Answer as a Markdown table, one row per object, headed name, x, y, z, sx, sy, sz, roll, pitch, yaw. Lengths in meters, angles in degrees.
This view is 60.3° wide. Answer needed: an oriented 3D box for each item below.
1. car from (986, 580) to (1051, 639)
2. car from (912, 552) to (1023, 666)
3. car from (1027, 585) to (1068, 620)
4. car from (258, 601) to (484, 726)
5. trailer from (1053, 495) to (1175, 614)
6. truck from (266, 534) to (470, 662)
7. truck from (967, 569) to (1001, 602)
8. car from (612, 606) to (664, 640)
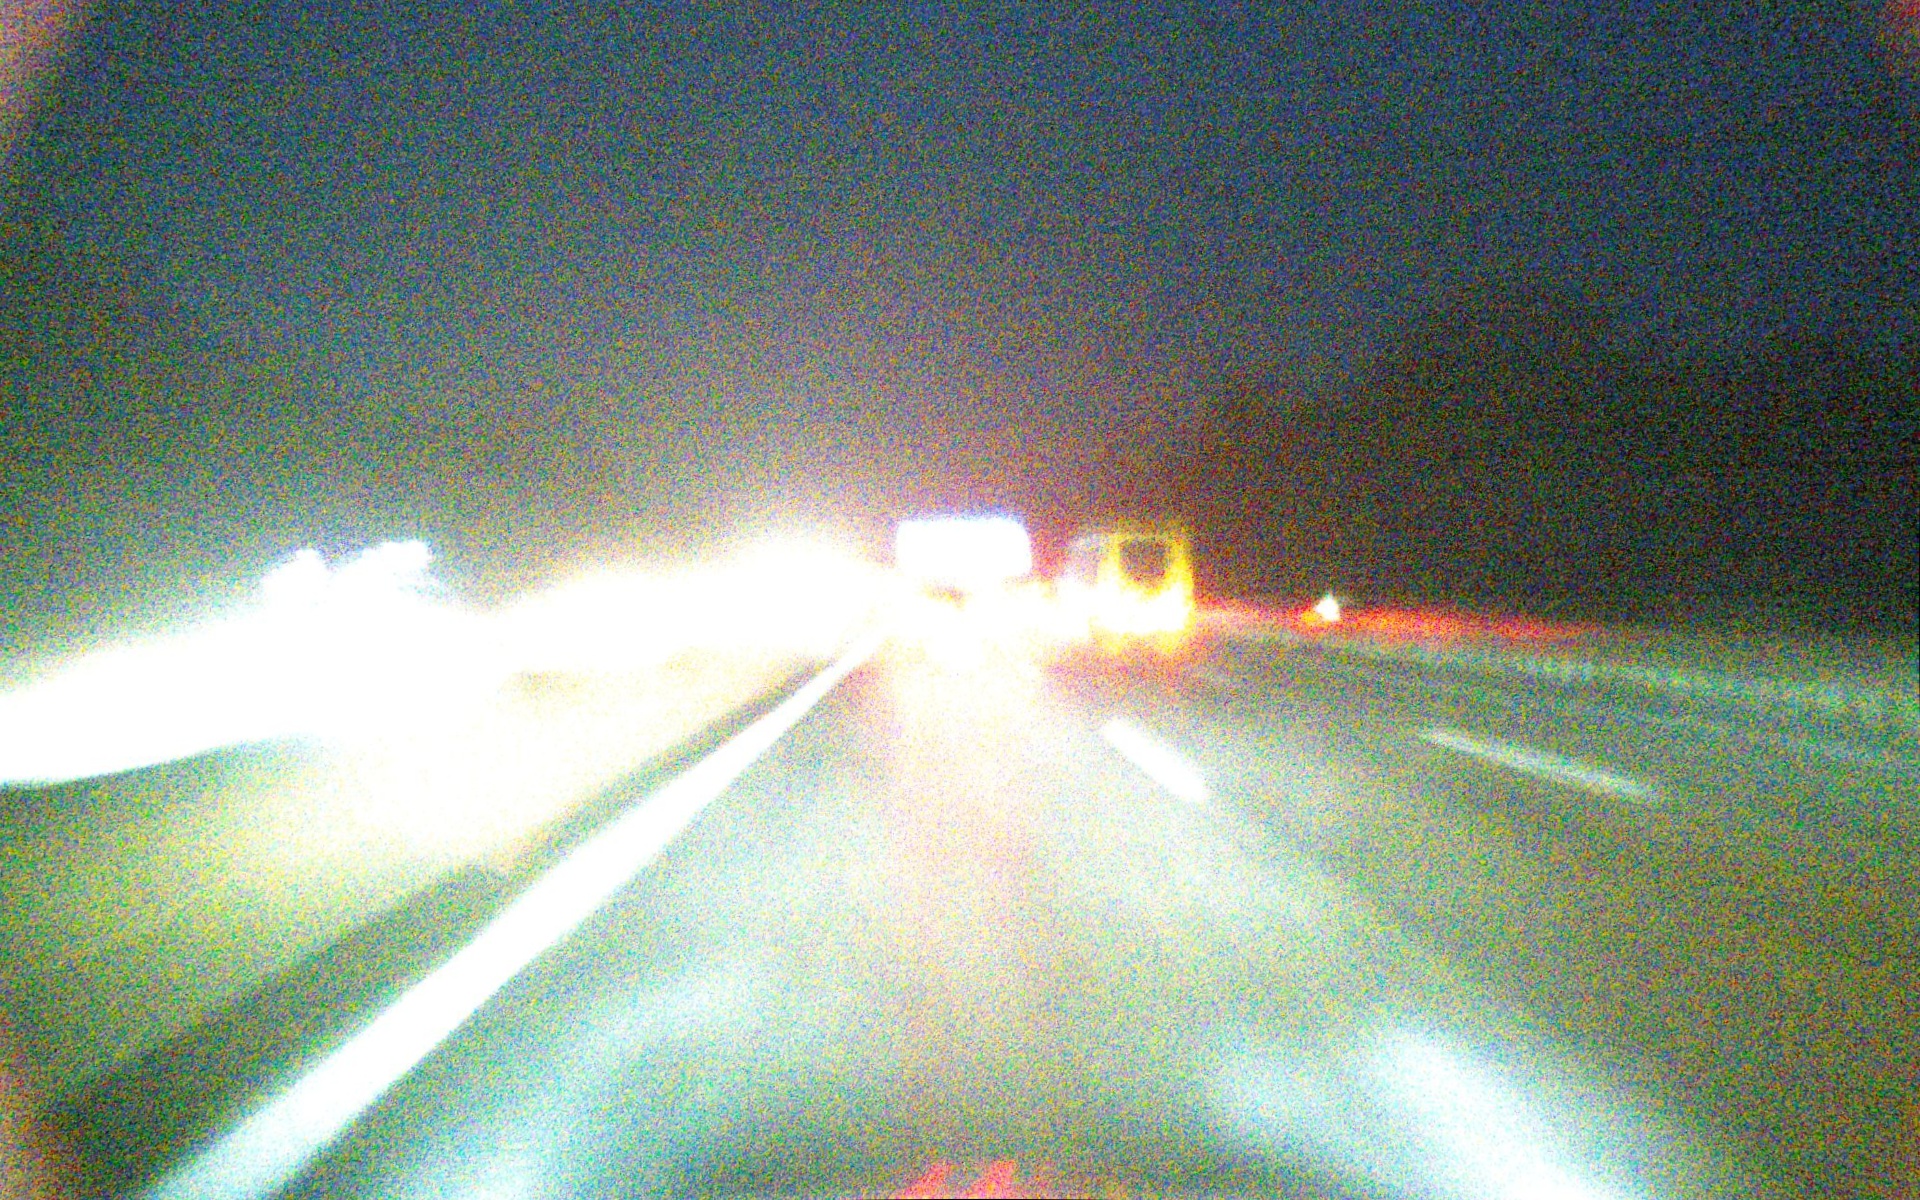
| name | x | y | z | sx | sy | sz | roll | pitch | yaw |
| --- | --- | --- | --- | --- | --- | --- | --- | --- | --- |
| car | 2.146 | 0.350 | 61.649 | 1.954 | 2.049 | 3.997 | -2 | 0 | -4 |
| car | 0.082 | 0.177 | 32.021 | 1.953 | 2.049 | 3.998 | 1 | 0 | -2 |
| car | 5.401 | 0.170 | 102.510 | 1.954 | 2.049 | 3.997 | -2 | 0 | -4 |
| car | -9.012 | 0.923 | 25.739 | 1.877 | 1.713 | 4.505 | -2 | -1 | 0 |
| trailer | 5.935 | -1.619 | 66.289 | 2.980 | 4.180 | 13.822 | -2 | 0 | -2 |
| truck | -17.146 | -0.096 | 48.628 | 3.012 | 3.353 | 8.342 | -2 | 1 | -1 |
| truck | 2.576 | -1.482 | 179.378 | 2.976 | 3.355 | 11.375 | -2 | 0 | -2 |
| car | -17.066 | 1.194 | 87.792 | 1.877 | 1.713 | 4.505 | -2 | -1 | 0 |
